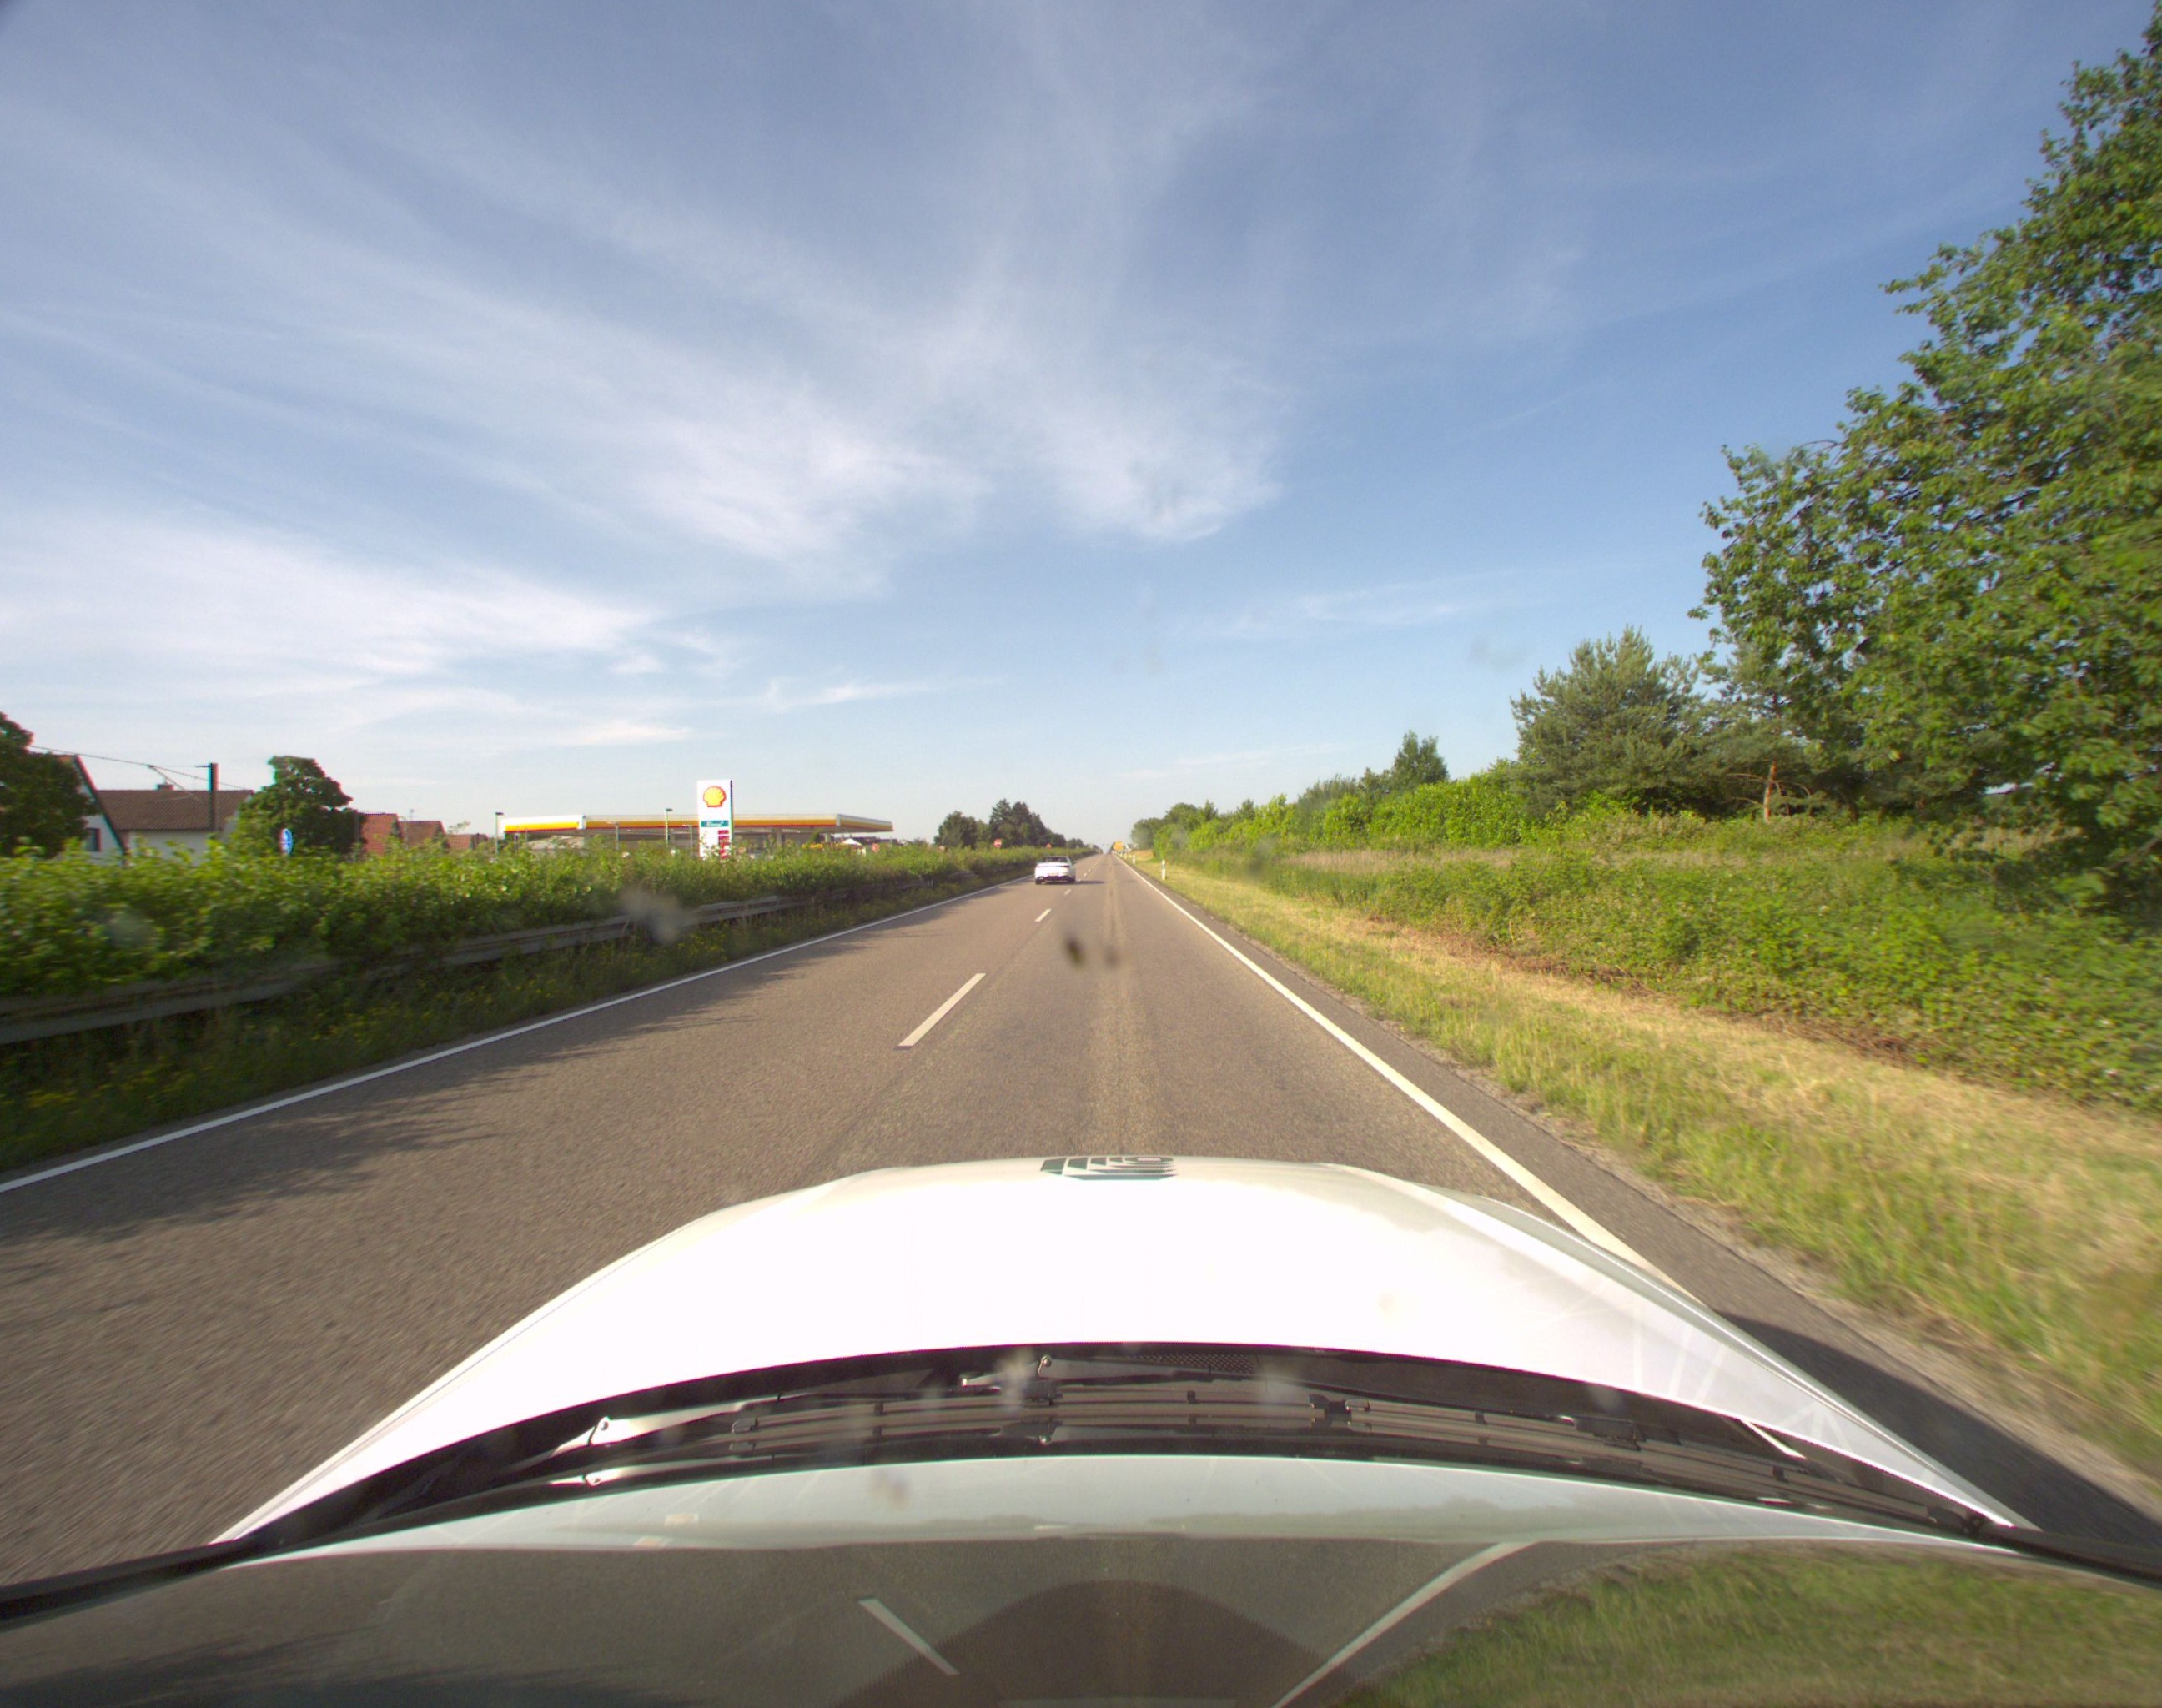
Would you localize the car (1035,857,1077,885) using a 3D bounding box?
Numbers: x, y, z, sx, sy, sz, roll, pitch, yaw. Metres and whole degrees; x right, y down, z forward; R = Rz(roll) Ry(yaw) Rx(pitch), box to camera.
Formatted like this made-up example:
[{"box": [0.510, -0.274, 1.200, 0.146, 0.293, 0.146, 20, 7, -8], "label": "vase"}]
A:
[{"box": [-1.210, 0.809, 41.326, 1.764, 1.337, 4.953, 0, 0, 2], "label": "car"}]
